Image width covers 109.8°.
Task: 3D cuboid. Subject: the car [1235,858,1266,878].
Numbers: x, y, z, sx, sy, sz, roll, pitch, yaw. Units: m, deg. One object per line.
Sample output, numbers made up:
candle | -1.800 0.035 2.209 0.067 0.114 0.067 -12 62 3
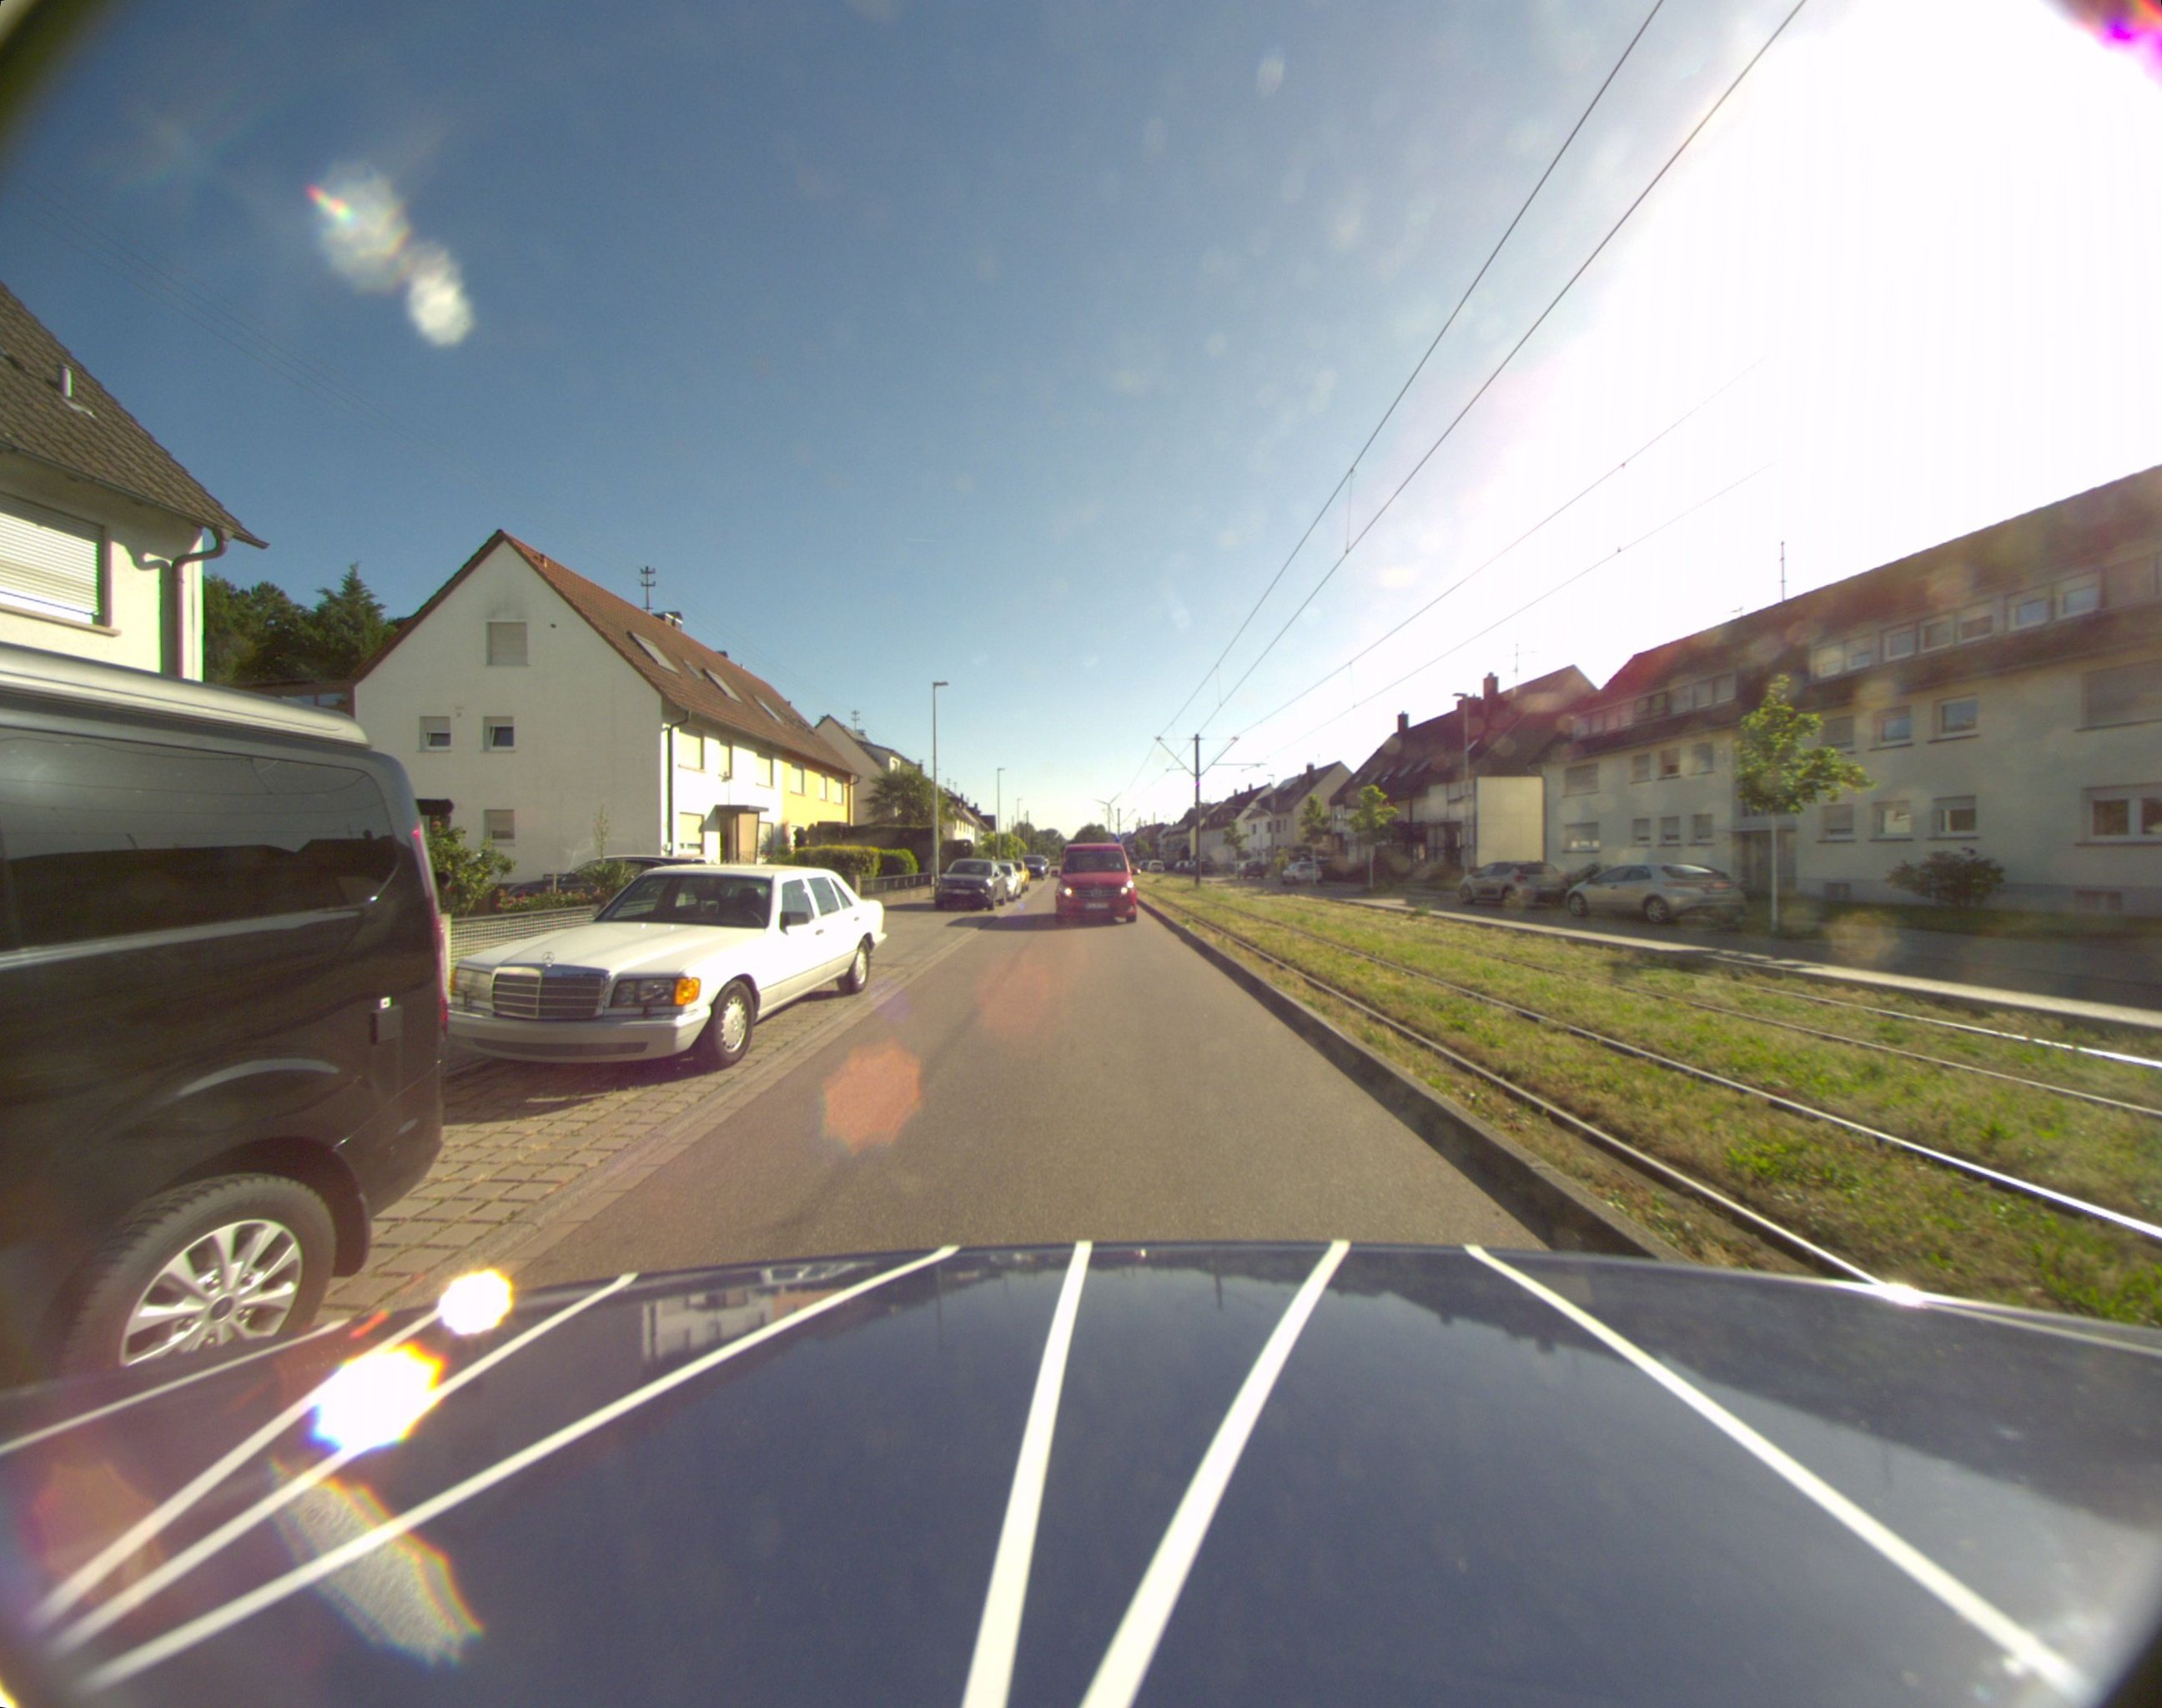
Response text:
car | 13.528 1.099 60.816 1.623 1.503 4.085 -1 0 1

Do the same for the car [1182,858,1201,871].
car | 12.705 1.209 87.555 1.469 1.459 3.998 0 -1 -2

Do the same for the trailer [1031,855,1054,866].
trailer | -4.263 0.703 82.660 2.278 1.124 6.434 2 0 -4

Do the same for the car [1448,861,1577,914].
car | 13.938 1.029 24.861 1.693 1.464 4.314 -2 0 -1

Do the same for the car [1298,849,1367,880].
car | 18.680 0.771 56.645 4.472 2.068 1.787 -3 1 0

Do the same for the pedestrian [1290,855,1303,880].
pedestrian | 15.516 0.950 54.705 0.617 1.804 0.678 -2 1 -9

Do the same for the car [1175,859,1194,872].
car | 12.553 1.429 92.515 1.658 1.447 4.400 -2 0 -1

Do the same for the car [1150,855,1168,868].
car | 9.342 0.923 91.484 1.693 1.467 3.679 1 0 -1

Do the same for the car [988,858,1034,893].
car | -3.396 1.025 37.609 1.810 1.550 4.926 1 0 0

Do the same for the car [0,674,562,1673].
car | -3.283 0.672 0.660 1.965 2.131 5.335 1 0 0

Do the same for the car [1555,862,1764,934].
car | 13.953 0.979 18.721 1.693 1.467 4.442 -2 0 -1

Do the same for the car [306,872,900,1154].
car | -3.384 0.962 7.108 1.857 1.435 5.614 2 0 2

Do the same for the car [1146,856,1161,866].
car | 11.441 1.090 119.858 1.832 1.522 4.092 -2 0 -1

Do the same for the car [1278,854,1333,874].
car | 20.288 0.878 68.853 4.404 1.773 1.970 0 0 -1

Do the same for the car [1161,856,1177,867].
car | 12.391 1.043 107.407 1.705 1.389 4.092 -2 0 -1

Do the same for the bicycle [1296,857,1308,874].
bicycle | 15.871 0.813 54.589 0.478 1.156 1.872 -2 0 5

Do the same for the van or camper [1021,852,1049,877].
van or camper | -3.571 0.803 59.519 1.954 1.835 5.581 1 0 -2

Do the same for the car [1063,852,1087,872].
car | -0.564 0.682 67.728 1.862 1.592 4.327 2 0 -4

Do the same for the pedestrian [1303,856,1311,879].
pedestrian | 16.564 0.990 55.659 0.552 1.678 0.624 -1 1 15

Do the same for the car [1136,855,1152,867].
car | 8.776 0.972 105.906 1.693 1.467 4.082 -2 0 -1

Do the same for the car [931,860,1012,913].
car | -3.349 0.962 24.069 1.782 1.490 4.728 0 0 1

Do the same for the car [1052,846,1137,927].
car | 0.263 0.752 20.664 1.999 1.889 5.389 -1 0 -1

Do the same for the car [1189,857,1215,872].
car | 13.045 1.092 82.205 1.926 1.551 4.857 -2 0 -2

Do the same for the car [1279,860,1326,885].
car | 13.890 1.140 47.770 1.662 1.428 4.103 -1 0 -1

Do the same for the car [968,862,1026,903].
car | -3.183 1.078 29.601 1.752 1.438 4.699 1 -1 0

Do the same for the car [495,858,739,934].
car | -10.875 0.942 18.137 4.426 1.645 2.196 -1 0 -3
